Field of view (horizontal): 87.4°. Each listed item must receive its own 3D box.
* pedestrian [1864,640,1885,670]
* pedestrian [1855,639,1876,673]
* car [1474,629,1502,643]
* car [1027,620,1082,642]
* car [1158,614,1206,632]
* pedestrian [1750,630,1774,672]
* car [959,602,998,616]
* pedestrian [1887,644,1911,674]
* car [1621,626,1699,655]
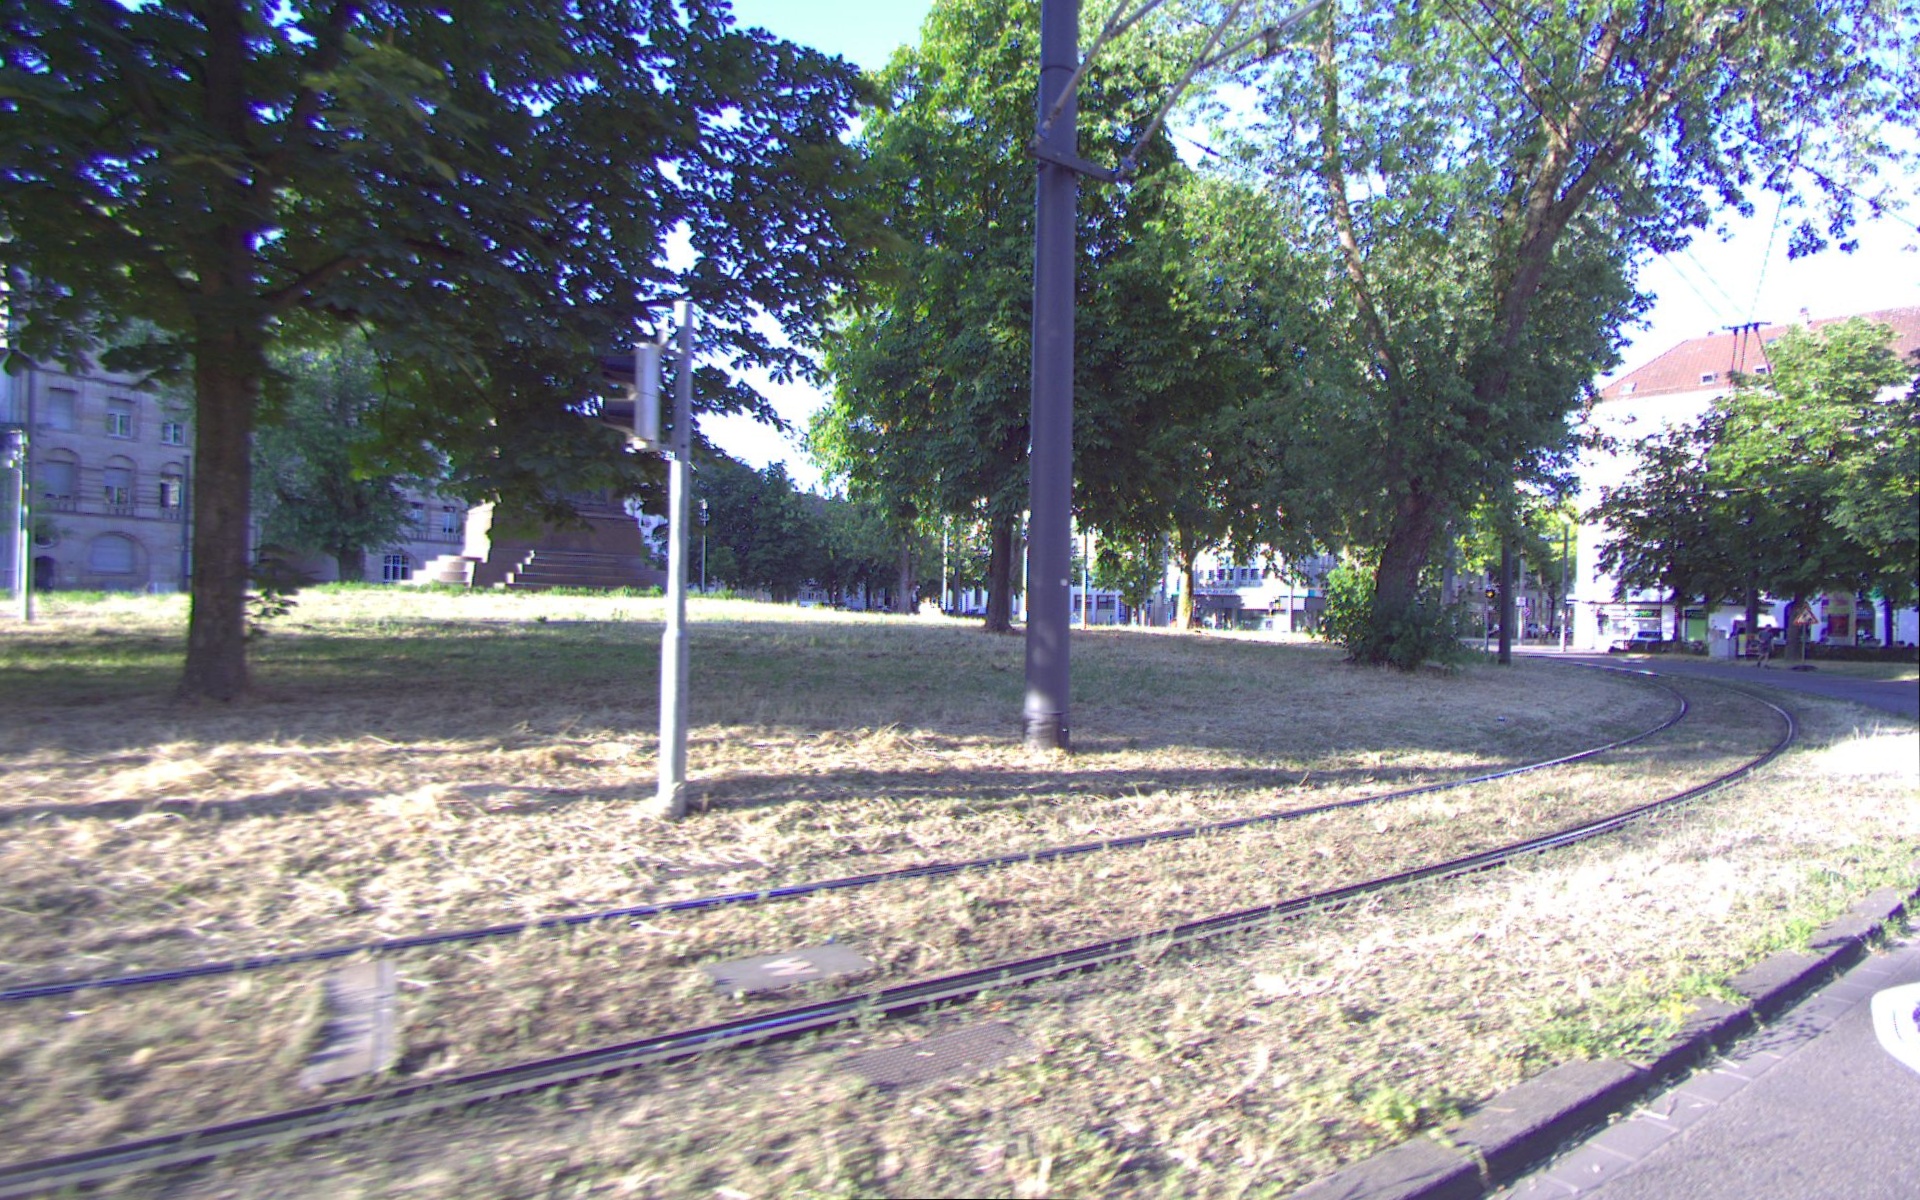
[{"bbox_3d":[43.371,2.614,47.645,0.652,1.397,0.531,2,0,-31],"label":"pedestrian"},{"bbox_3d":[41.789,2.566,46.345,0.652,1.517,0.531,2,0,-31],"label":"pedestrian"},{"bbox_3d":[58.672,4.027,111.617,3.599,1.496,1.641,2,0,-43],"label":"car"},{"bbox_3d":[7.225,2.381,77.236,3.884,1.482,1.589,2,0,-11],"label":"car"},{"bbox_3d":[20.486,2.120,92.720,1.985,1.483,3.950,2,0,-42],"label":"car"},{"bbox_3d":[31.648,1.998,39.628,0.551,1.587,0.594,2,1,26],"label":"pedestrian"},{"bbox_3d":[1.901,0.937,105.305,3.906,1.272,1.596,2,1,39],"label":"car"},{"bbox_3d":[44.605,2.815,47.730,0.652,1.370,0.663,2,0,-31],"label":"pedestrian"},{"bbox_3d":[42.156,2.428,60.540,1.649,1.572,3.581,2,0,-41],"label":"car"}]
